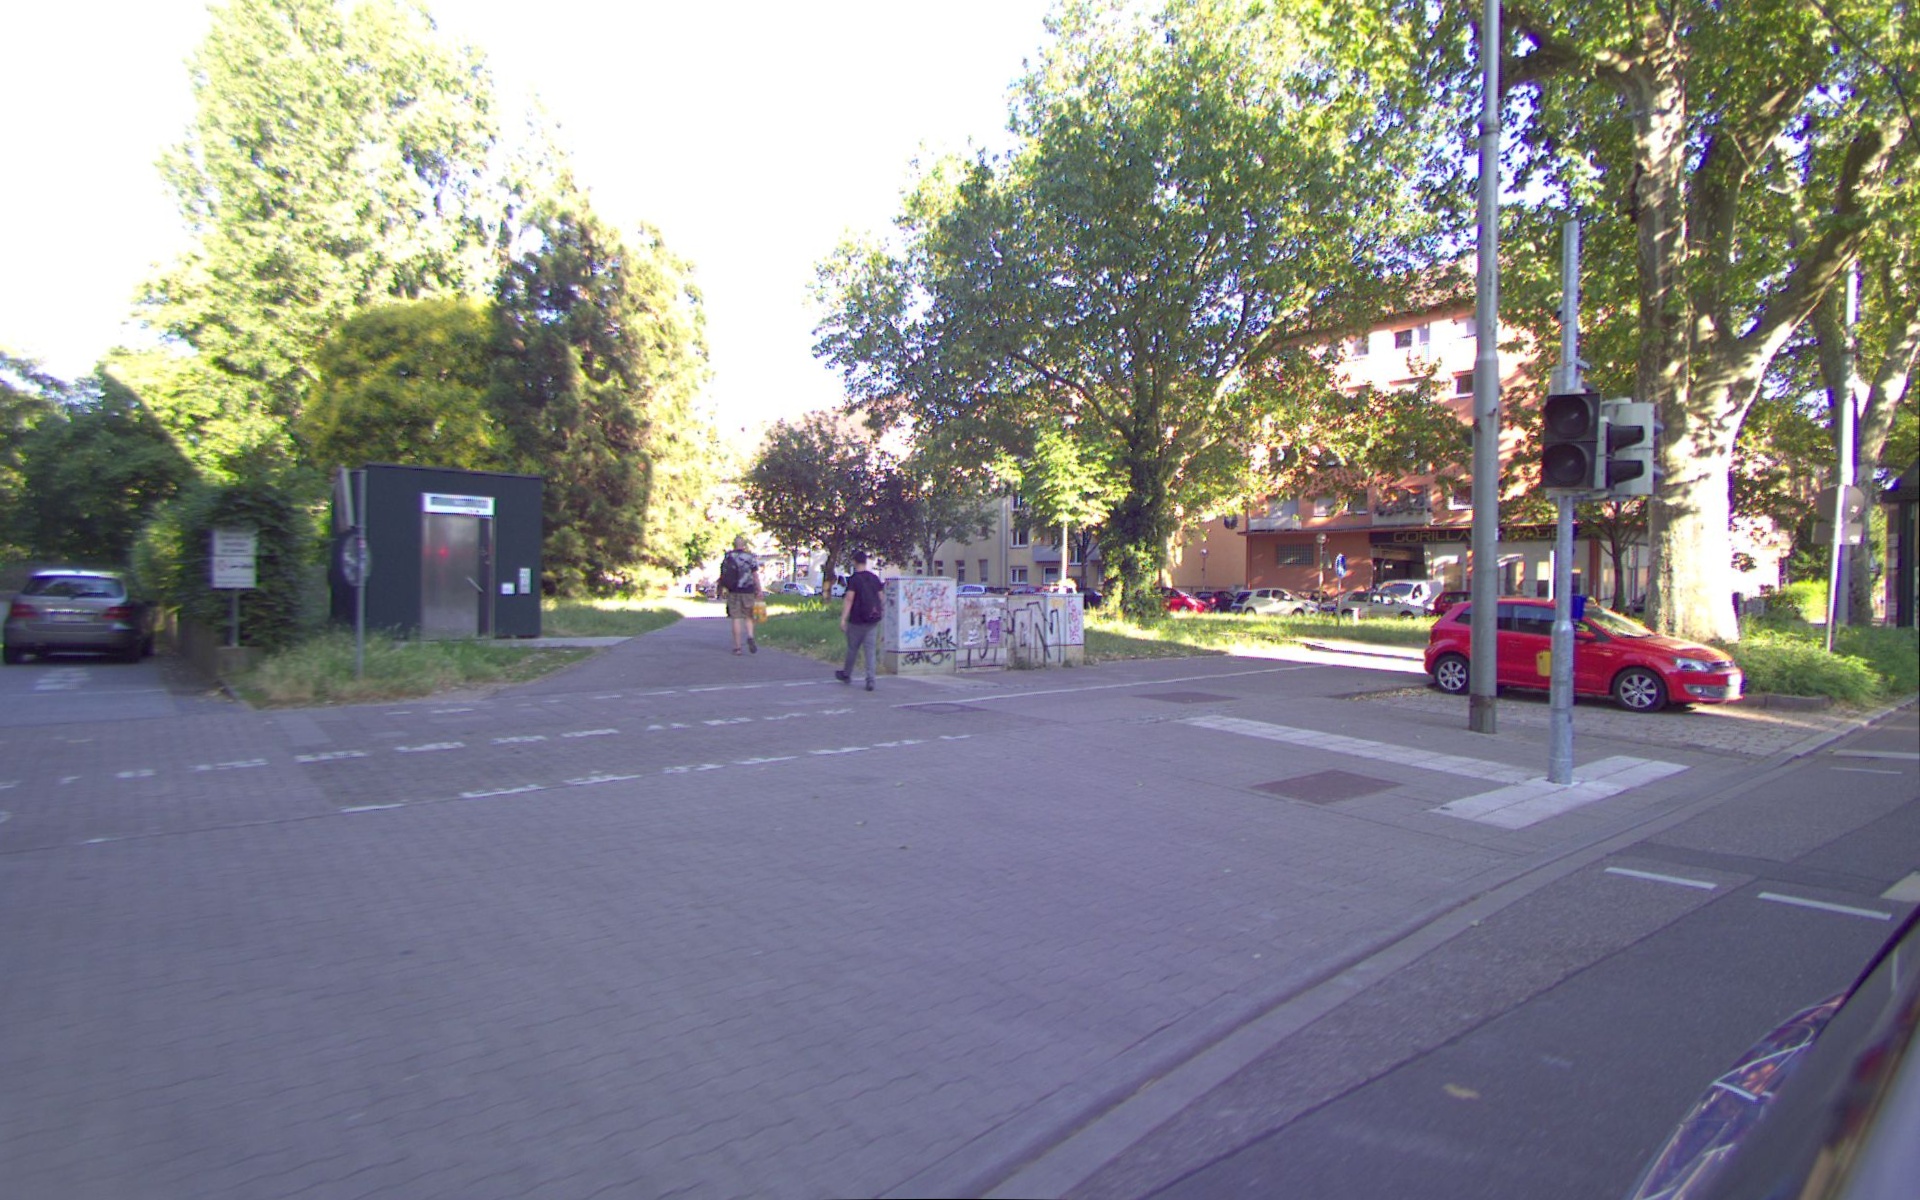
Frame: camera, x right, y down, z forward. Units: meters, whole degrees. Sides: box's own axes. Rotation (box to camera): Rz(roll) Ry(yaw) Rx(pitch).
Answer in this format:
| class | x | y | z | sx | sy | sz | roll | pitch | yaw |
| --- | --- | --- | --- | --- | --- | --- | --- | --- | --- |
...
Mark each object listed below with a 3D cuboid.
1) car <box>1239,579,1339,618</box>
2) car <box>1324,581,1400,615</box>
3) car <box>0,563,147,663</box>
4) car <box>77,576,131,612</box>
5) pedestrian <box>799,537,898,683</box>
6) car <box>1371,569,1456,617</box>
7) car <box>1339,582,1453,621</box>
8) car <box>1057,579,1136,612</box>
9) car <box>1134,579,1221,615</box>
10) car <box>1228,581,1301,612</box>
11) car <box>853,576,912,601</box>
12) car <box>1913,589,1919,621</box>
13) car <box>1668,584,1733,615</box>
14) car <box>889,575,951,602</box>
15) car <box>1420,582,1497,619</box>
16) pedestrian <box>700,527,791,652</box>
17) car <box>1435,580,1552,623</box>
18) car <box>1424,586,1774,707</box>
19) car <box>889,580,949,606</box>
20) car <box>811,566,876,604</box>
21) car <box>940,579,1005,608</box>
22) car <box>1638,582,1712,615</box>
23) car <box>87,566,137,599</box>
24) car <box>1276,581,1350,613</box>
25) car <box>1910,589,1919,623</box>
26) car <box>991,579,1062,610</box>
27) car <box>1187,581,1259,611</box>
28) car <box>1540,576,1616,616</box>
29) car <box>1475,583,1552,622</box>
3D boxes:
| class | x | y | z | sx | sy | sz | roll | pitch | yaw |
| --- | --- | --- | --- | --- | --- | --- | --- | --- | --- |
| car | 14.542 | -0.097 | 44.859 | 1.654 | 1.601 | 3.924 | 0 | 1 | -41 |
| car | 19.869 | -0.126 | 49.946 | 4.502 | 1.594 | 1.791 | 0 | 1 | -44 |
| car | -15.791 | 0.175 | 18.160 | 1.759 | 1.584 | 3.998 | 0 | 1 | -37 |
| car | -39.469 | -0.300 | 46.729 | 1.760 | 1.584 | 3.997 | 0 | 1 | -38 |
| pedestrian | -1.466 | 0.113 | 13.334 | 0.995 | 1.834 | 0.850 | 1 | 1 | 45 |
| car | 21.690 | -0.344 | 48.333 | 4.999 | 2.211 | 1.914 | 0 | 1 | -43 |
| car | 17.710 | 0.029 | 41.244 | 1.654 | 1.470 | 3.924 | 0 | 1 | -41 |
| car | 7.057 | -0.267 | 52.546 | 1.654 | 1.601 | 3.924 | 0 | 1 | -41 |
| car | 10.532 | -0.171 | 49.173 | 1.654 | 1.601 | 3.924 | 0 | 1 | -41 |
| car | 16.435 | -0.201 | 54.575 | 4.502 | 1.594 | 1.791 | 0 | 1 | -44 |
| car | -6.001 | -0.901 | 78.739 | 4.502 | 1.931 | 1.791 | 0 | 1 | -44 |
| car | 48.136 | 0.282 | 47.700 | 1.916 | 1.562 | 4.416 | 0 | 1 | -37 |
| car | 37.157 | -0.046 | 50.763 | 3.880 | 1.452 | 1.752 | 0 | 2 | -40 |
| car | -2.931 | -0.845 | 75.029 | 4.502 | 1.931 | 1.791 | 0 | 1 | -44 |
| car | 23.117 | -0.006 | 46.828 | 4.502 | 1.594 | 1.791 | 0 | 1 | -44 |
| pedestrian | -3.443 | -0.190 | 16.229 | 0.983 | 1.886 | 0.999 | 6 | 4 | 45 |
| car | 20.020 | 0.029 | 38.068 | 1.654 | 1.470 | 3.543 | 0 | 1 | -41 |
| car | 8.925 | 0.539 | 14.432 | 1.618 | 1.441 | 3.897 | 0 | 1 | -36 |
| car | -2.625 | -0.457 | 63.944 | 1.654 | 1.601 | 3.924 | 0 | 1 | -41 |
| car | -8.150 | -1.068 | 70.278 | 1.942 | 2.594 | 5.037 | 0 | 1 | -41 |
| car | 0.706 | -0.392 | 59.800 | 1.654 | 1.601 | 3.924 | 0 | 1 | -41 |
| car | 33.384 | -0.102 | 47.228 | 4.388 | 1.452 | 1.752 | 0 | 2 | -40 |
| car | -42.757 | -0.867 | 51.086 | 1.760 | 1.584 | 3.997 | 0 | 1 | -38 |
| car | 18.240 | -0.162 | 52.236 | 4.502 | 1.594 | 1.791 | 0 | 1 | -44 |
| car | 46.370 | 0.303 | 45.968 | 1.782 | 1.562 | 4.420 | 0 | 1 | -32 |
| car | 3.687 | -0.336 | 56.626 | 1.654 | 1.601 | 3.924 | 0 | 1 | -41 |
| car | 14.618 | -0.228 | 56.108 | 4.502 | 1.594 | 1.791 | 0 | 1 | -44 |
| car | 26.318 | -0.203 | 43.018 | 1.790 | 1.594 | 4.504 | 2 | 1 | 44 |
| car | 24.255 | 0.100 | 44.294 | 1.790 | 1.594 | 4.504 | 2 | 1 | 44 |
